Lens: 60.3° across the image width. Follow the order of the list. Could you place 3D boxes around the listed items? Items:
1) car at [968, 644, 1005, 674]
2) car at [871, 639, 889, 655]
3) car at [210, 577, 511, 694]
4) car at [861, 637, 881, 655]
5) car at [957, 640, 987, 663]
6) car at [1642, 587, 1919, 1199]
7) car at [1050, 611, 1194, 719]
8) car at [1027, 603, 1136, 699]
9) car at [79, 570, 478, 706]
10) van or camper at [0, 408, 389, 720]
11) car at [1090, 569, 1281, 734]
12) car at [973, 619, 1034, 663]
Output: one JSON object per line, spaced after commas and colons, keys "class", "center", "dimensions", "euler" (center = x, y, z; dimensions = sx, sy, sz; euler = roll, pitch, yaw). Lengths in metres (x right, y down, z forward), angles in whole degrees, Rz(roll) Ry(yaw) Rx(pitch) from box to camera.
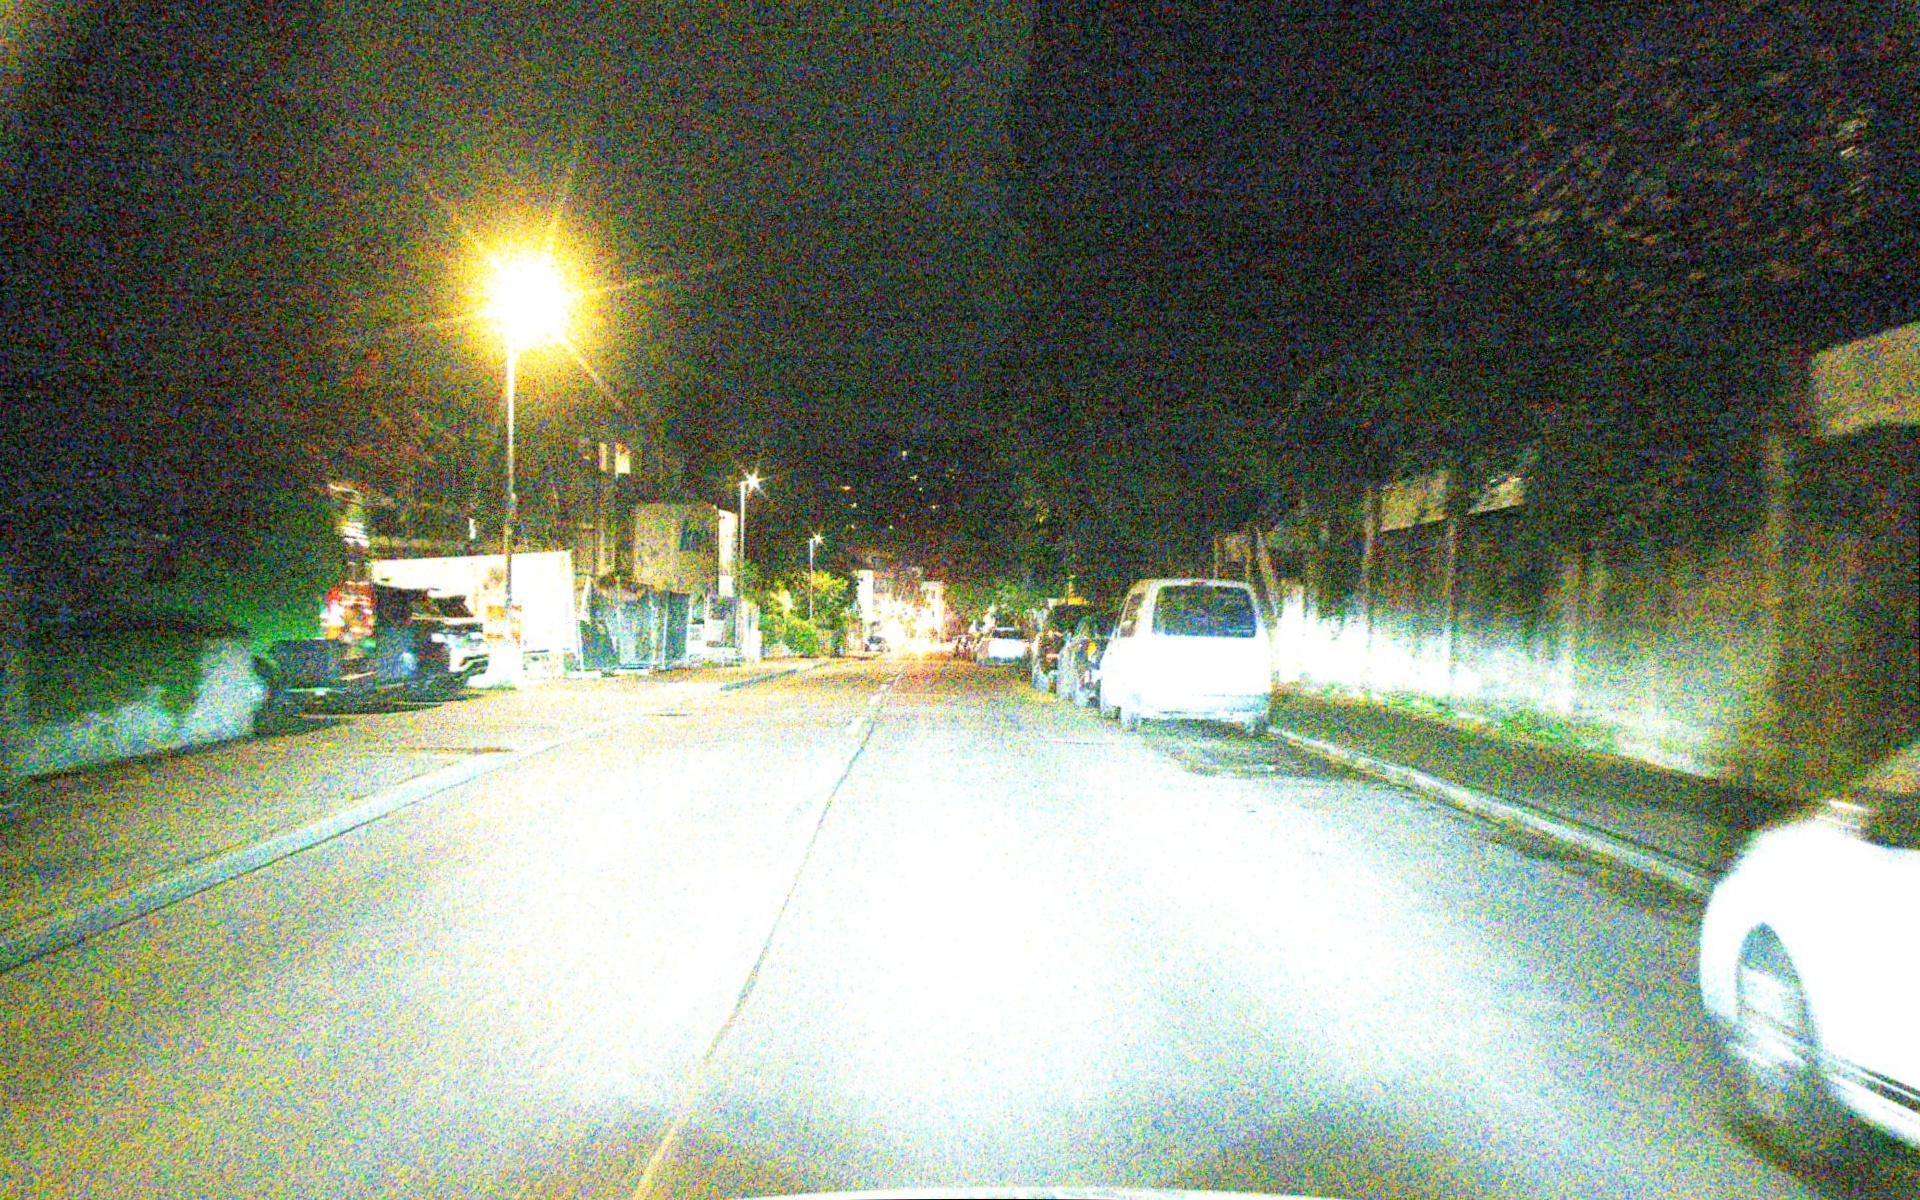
{"class": "car", "center": [1.341, 3.010, 85.017], "dimensions": [1.597, 1.464, 3.862], "euler": [1, -2, -3]}
{"class": "car", "center": [-8.141, 4.752, 168.197], "dimensions": [1.718, 1.567, 3.728], "euler": [1, -2, -2]}
{"class": "car", "center": [-8.802, 0.499, 24.550], "dimensions": [3.734, 1.582, 1.926], "euler": [1, 0, -2]}
{"class": "car", "center": [-8.109, 4.215, 151.084], "dimensions": [1.719, 1.567, 3.727], "euler": [1, -2, -5]}
{"class": "car", "center": [0.781, 3.394, 109.279], "dimensions": [1.649, 1.474, 3.997], "euler": [2, -2, -3]}
{"class": "car", "center": [3.079, 0.743, 3.599], "dimensions": [1.576, 1.486, 3.716], "euler": [-1, 1, -1]}
{"class": "car", "center": [2.497, 0.974, 26.351], "dimensions": [1.708, 1.496, 4.255], "euler": [3, -1, -2]}
{"class": "car", "center": [2.274, 0.972, 31.971], "dimensions": [1.794, 1.693, 4.618], "euler": [1, -2, 1]}
{"class": "car", "center": [-8.820, 0.503, 21.722], "dimensions": [4.326, 1.642, 2.065], "euler": [1, -2, 0]}
{"class": "van or camper", "center": [-9.185, -0.358, 17.986], "dimensions": [5.302, 3.165, 2.127], "euler": [1, 0, -11]}
{"class": "car", "center": [2.709, 0.592, 20.869], "dimensions": [1.683, 1.792, 4.757], "euler": [2, 0, -1]}
{"class": "car", "center": [1.581, 1.526, 61.514], "dimensions": [1.729, 1.501, 4.271], "euler": [3, -2, -5]}
